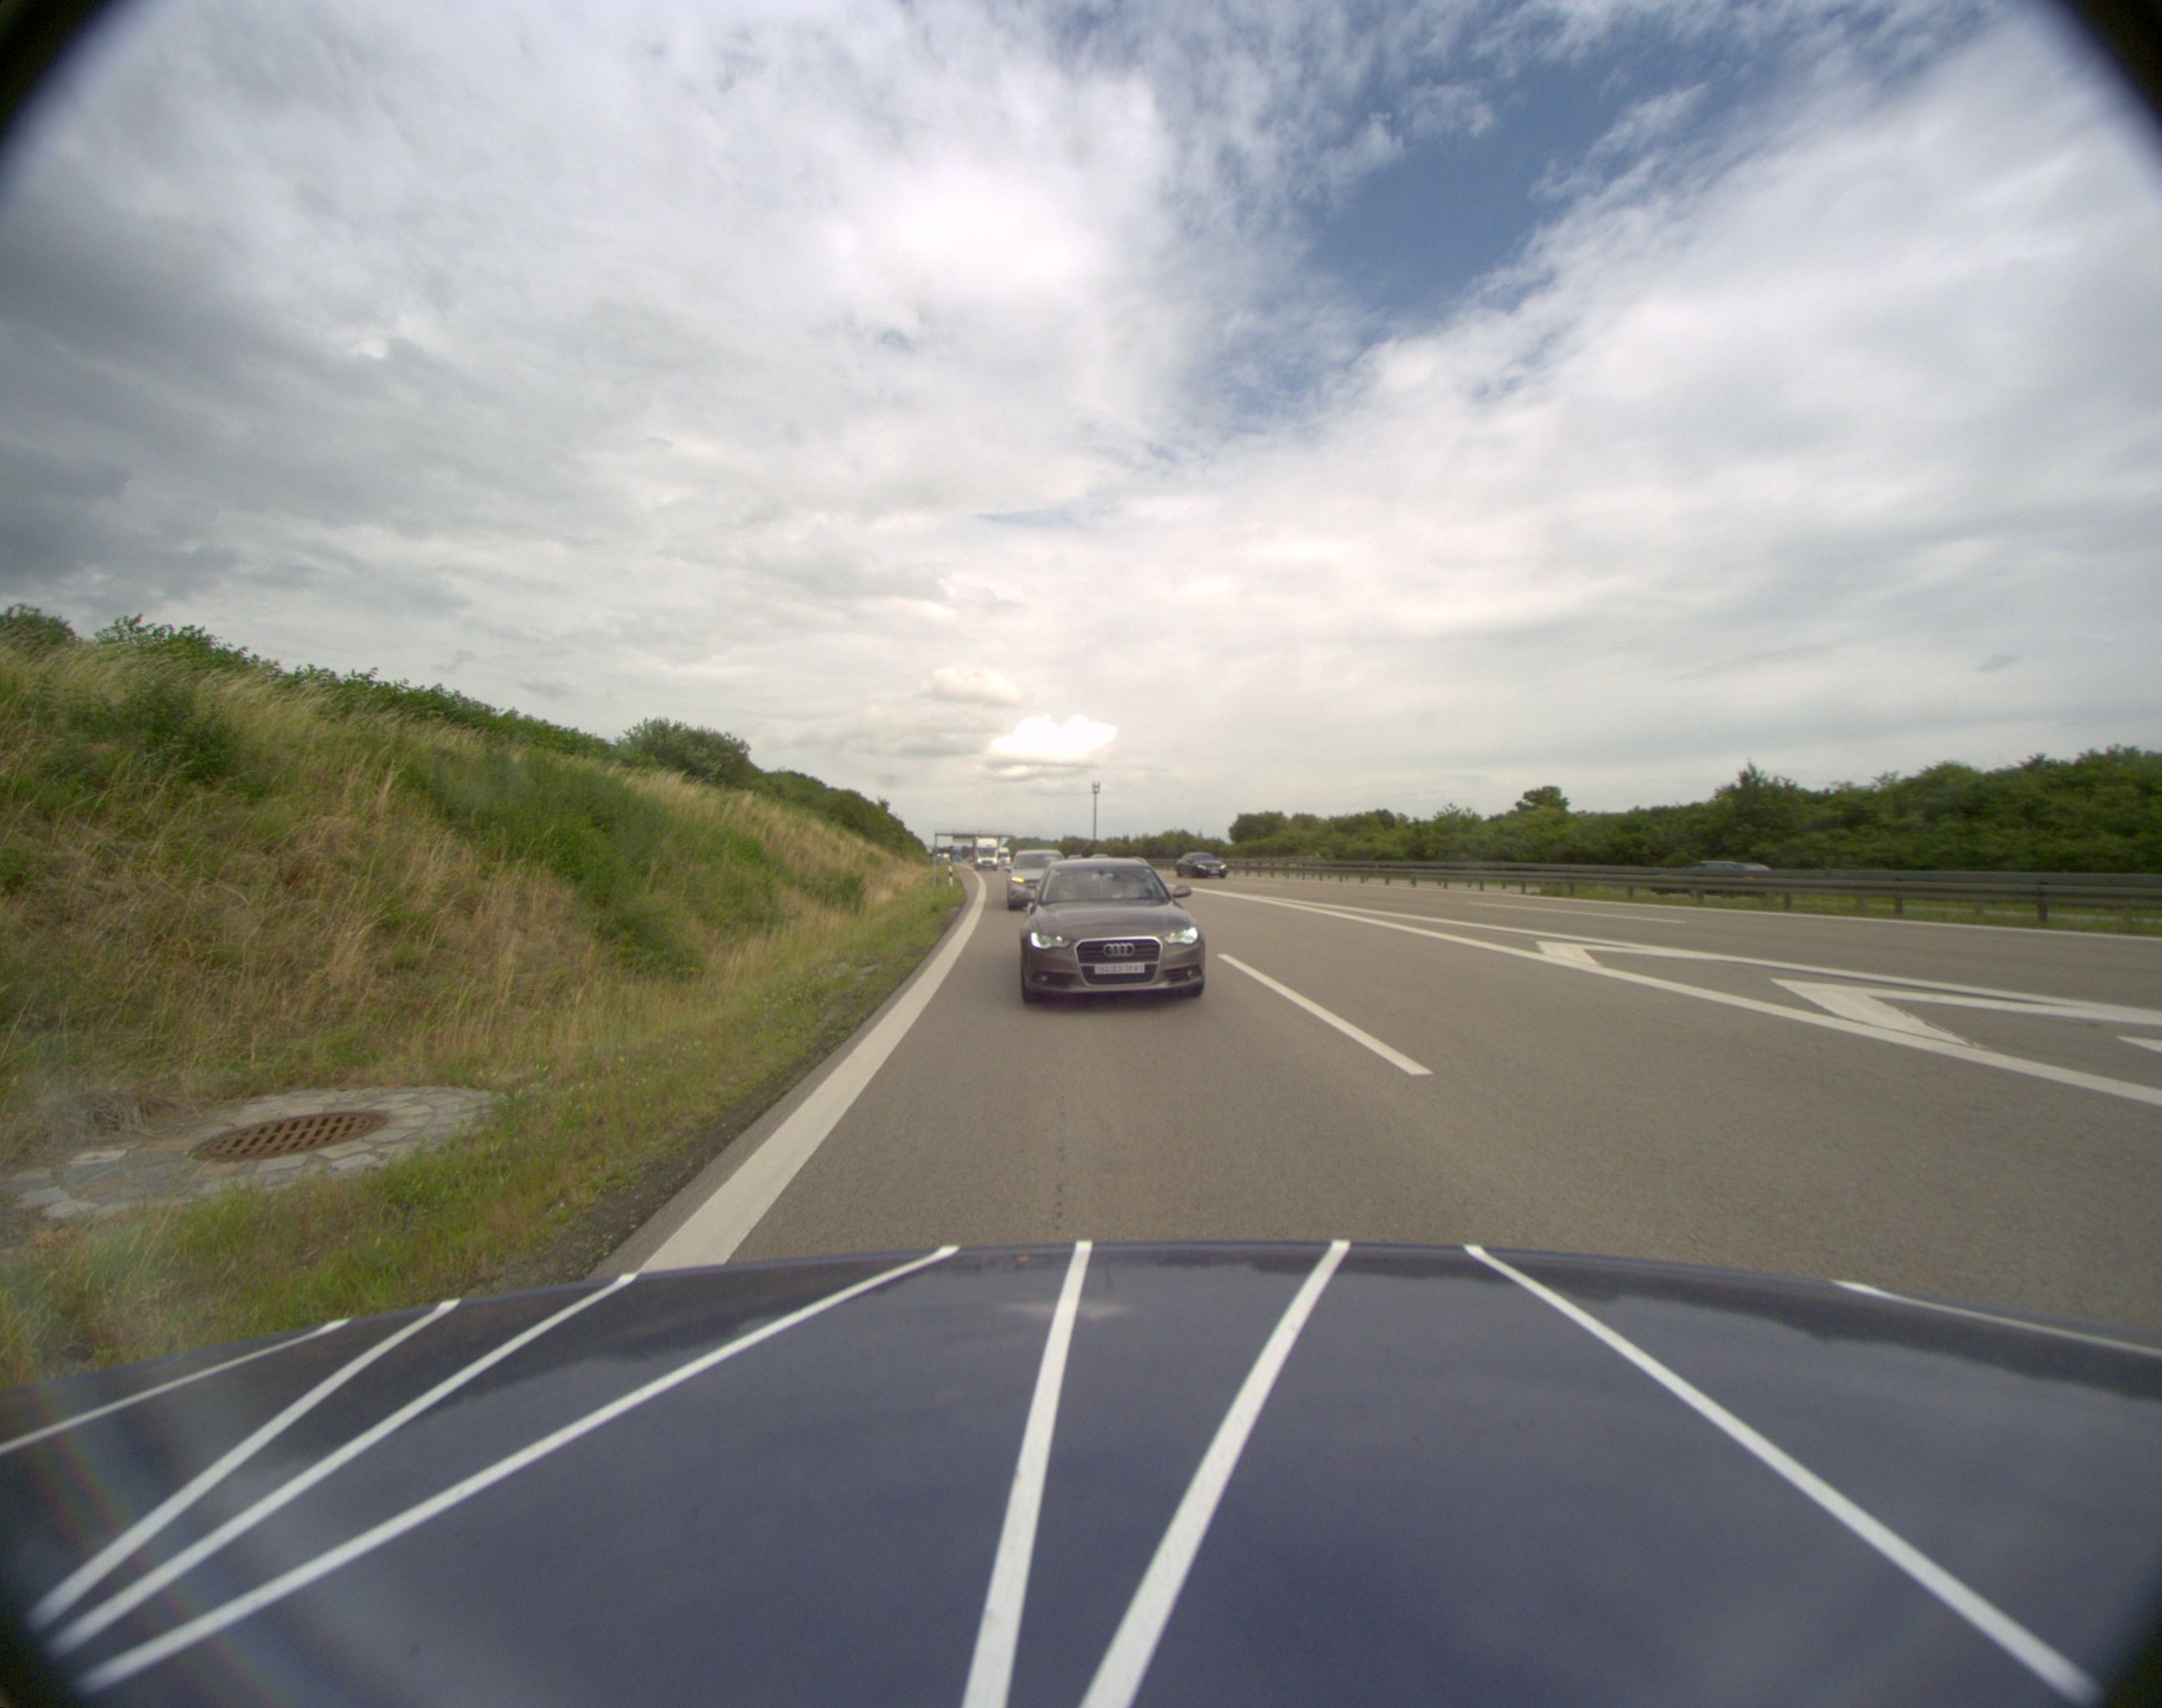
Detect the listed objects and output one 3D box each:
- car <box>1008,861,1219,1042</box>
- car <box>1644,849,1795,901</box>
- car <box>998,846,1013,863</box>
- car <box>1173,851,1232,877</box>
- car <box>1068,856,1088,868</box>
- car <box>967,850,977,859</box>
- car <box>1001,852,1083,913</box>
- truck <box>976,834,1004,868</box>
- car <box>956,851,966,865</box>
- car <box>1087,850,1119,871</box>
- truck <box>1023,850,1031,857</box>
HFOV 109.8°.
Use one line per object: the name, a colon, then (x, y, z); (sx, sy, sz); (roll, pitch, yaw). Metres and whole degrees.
car: (0.172, 0.881, 8.767); (1.849, 1.489, 4.027); (-1, 1, -4)
car: (23.761, 0.731, 28.492); (2.000, 1.792, 3.996); (0, 0, -9)
car: (-10.830, 0.011, 108.871); (2.000, 2.381, 3.997); (-2, 1, -7)
car: (7.250, 0.578, 45.878); (2.000, 1.501, 4.774); (0, 0, -11)
car: (-0.351, 0.995, 97.536); (1.842, 1.444, 4.374); (0, 0, -10)
car: (-25.077, 0.150, 174.762); (2.000, 2.002, 3.996); (0, 0, -10)
car: (-1.221, 0.747, 21.940); (2.000, 1.567, 3.997); (-1, 0, -8)
truck: (-9.133, -0.335, 76.007); (2.450, 3.216, 7.185); (-1, 0, -9)
car: (-33.711, 1.055, 213.298); (2.506, 3.689, 7.694); (0, 0, -10)
car: (1.685, 0.484, 59.596); (1.723, 1.510, 3.996); (0, 0, -9)
truck: (-16.573, -0.081, 232.266); (2.000, 2.002, 4.715); (-1, 0, -9)
